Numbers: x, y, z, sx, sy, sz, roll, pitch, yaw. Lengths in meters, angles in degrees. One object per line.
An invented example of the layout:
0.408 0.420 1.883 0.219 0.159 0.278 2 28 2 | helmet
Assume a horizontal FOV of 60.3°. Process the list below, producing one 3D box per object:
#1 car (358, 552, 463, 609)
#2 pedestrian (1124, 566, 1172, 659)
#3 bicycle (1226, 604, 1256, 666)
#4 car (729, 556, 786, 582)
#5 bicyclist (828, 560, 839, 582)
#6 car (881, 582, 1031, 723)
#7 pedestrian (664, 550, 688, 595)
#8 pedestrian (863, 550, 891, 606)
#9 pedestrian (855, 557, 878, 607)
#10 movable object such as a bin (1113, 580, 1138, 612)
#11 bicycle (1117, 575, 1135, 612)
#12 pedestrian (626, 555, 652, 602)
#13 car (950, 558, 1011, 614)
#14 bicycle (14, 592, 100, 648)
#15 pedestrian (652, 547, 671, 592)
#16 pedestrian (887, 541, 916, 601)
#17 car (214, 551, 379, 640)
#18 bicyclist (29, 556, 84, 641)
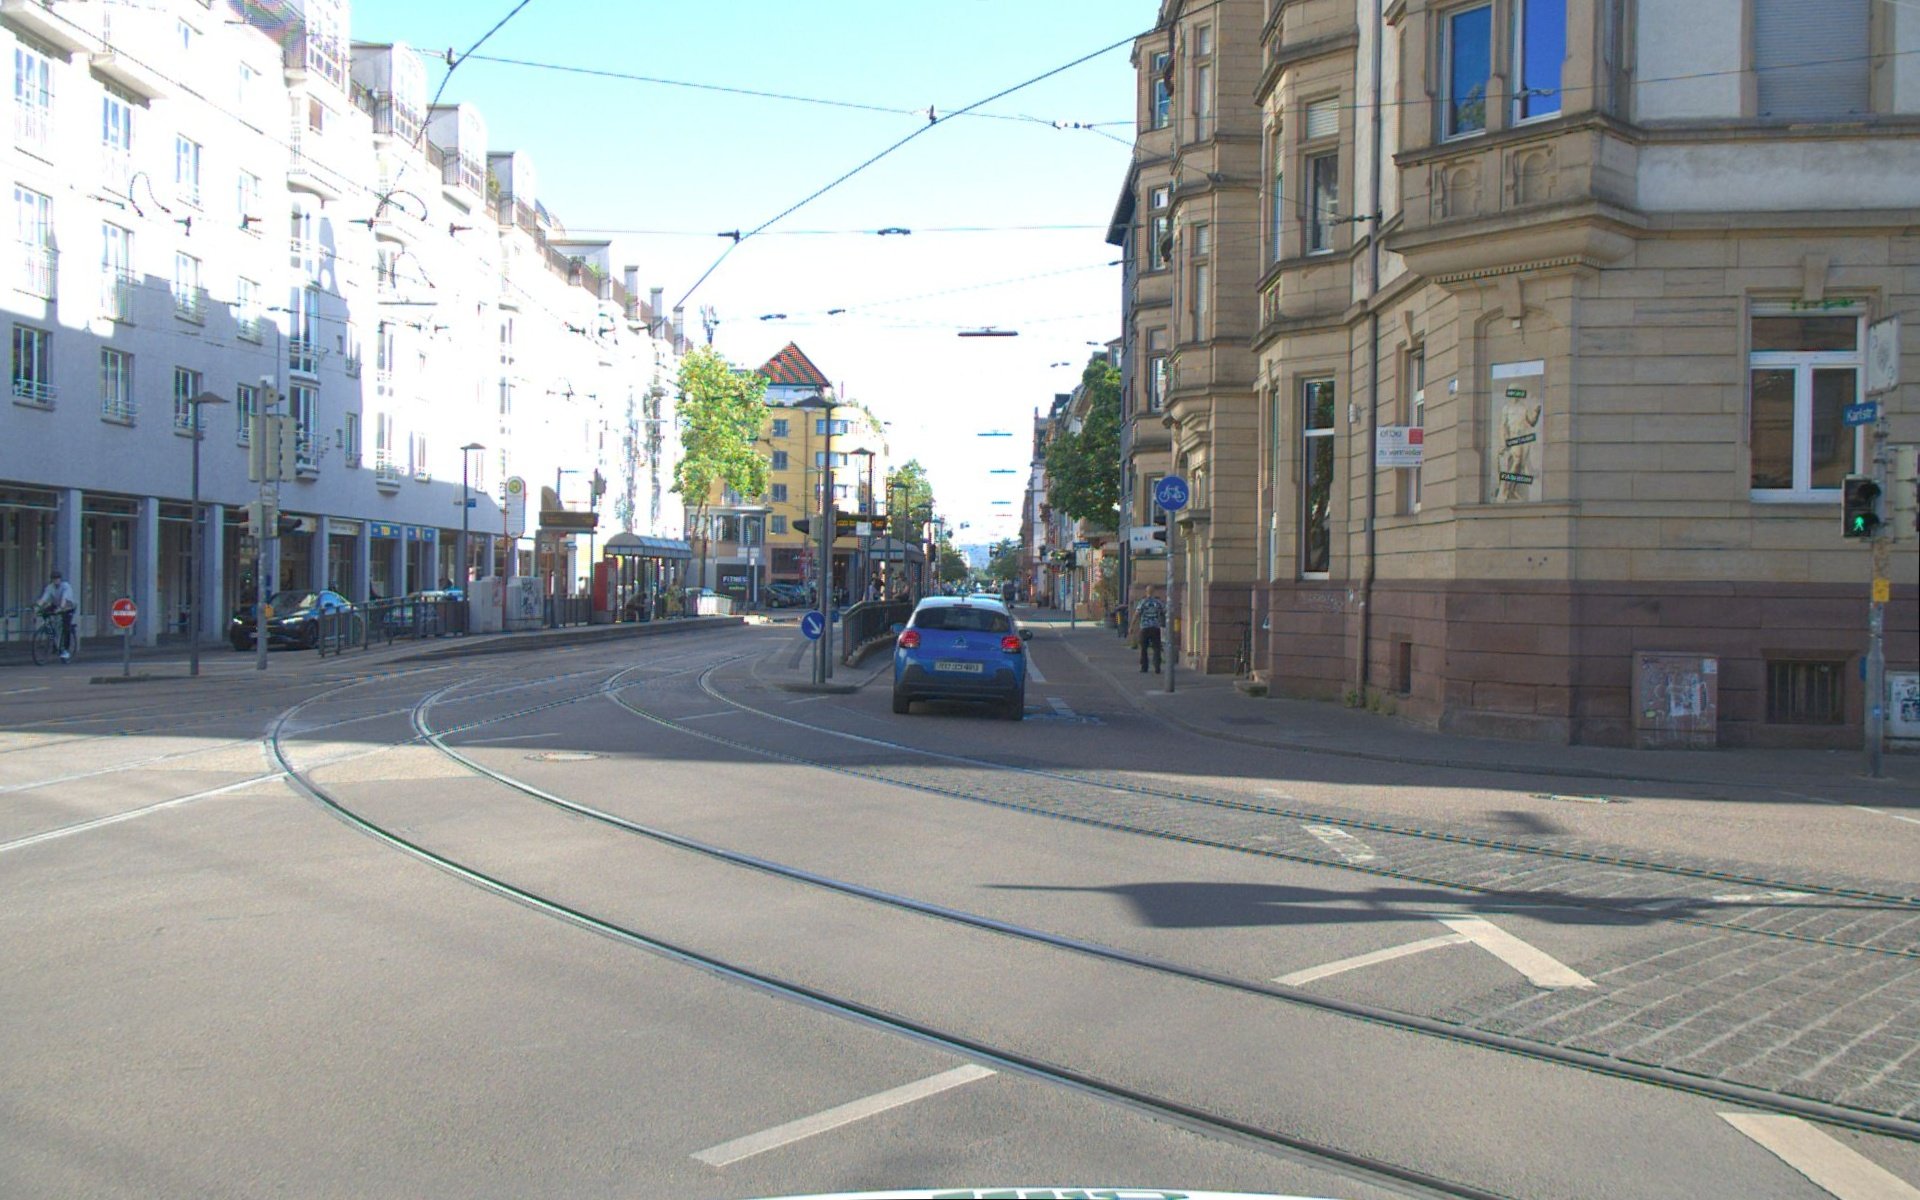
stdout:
-16.757 -0.633 50.629 1.693 1.541 4.406 2 3 0 | car
3.799 0.240 33.498 0.764 1.779 1.093 2 4 -1 | pedestrian
5.364 0.654 31.607 0.250 1.070 1.769 3 2 1 | bicycle
-14.772 -2.242 120.606 3.907 1.703 1.957 2 3 -2 | car
-9.376 -2.117 122.633 0.658 1.584 0.778 2 3 2 | bicyclist
0.006 0.613 21.832 1.744 1.475 3.656 3 3 1 | car
-10.446 -1.024 60.877 0.716 1.585 0.743 2 3 0 | pedestrian
-2.704 -0.728 53.956 0.705 1.808 0.563 3 3 37 | pedestrian
-3.020 -0.582 53.414 0.575 1.588 0.468 3 3 37 | pedestrian
5.600 -0.140 55.988 0.733 1.054 0.754 -2 2 2 | movable object such as a bin
5.378 -0.226 53.746 0.450 1.142 1.774 0 2 2 | bicycle
-11.020 -0.729 56.827 0.716 1.553 0.743 2 3 0 | pedestrian
0.751 -0.525 57.735 1.952 1.772 4.001 3 2 1 | car
-17.553 0.374 32.203 0.582 0.989 2.047 1 2 -1 | bicycle
-13.761 -1.407 76.286 0.655 2.048 0.708 3 1 2 | pedestrian
-1.724 -0.855 49.099 0.623 1.727 0.934 3 1 8 | pedestrian
-16.403 -0.174 41.171 2.181 1.944 4.610 2 2 0 | car
-17.521 -0.049 32.096 0.576 1.613 0.896 1 1 -1 | bicyclist
